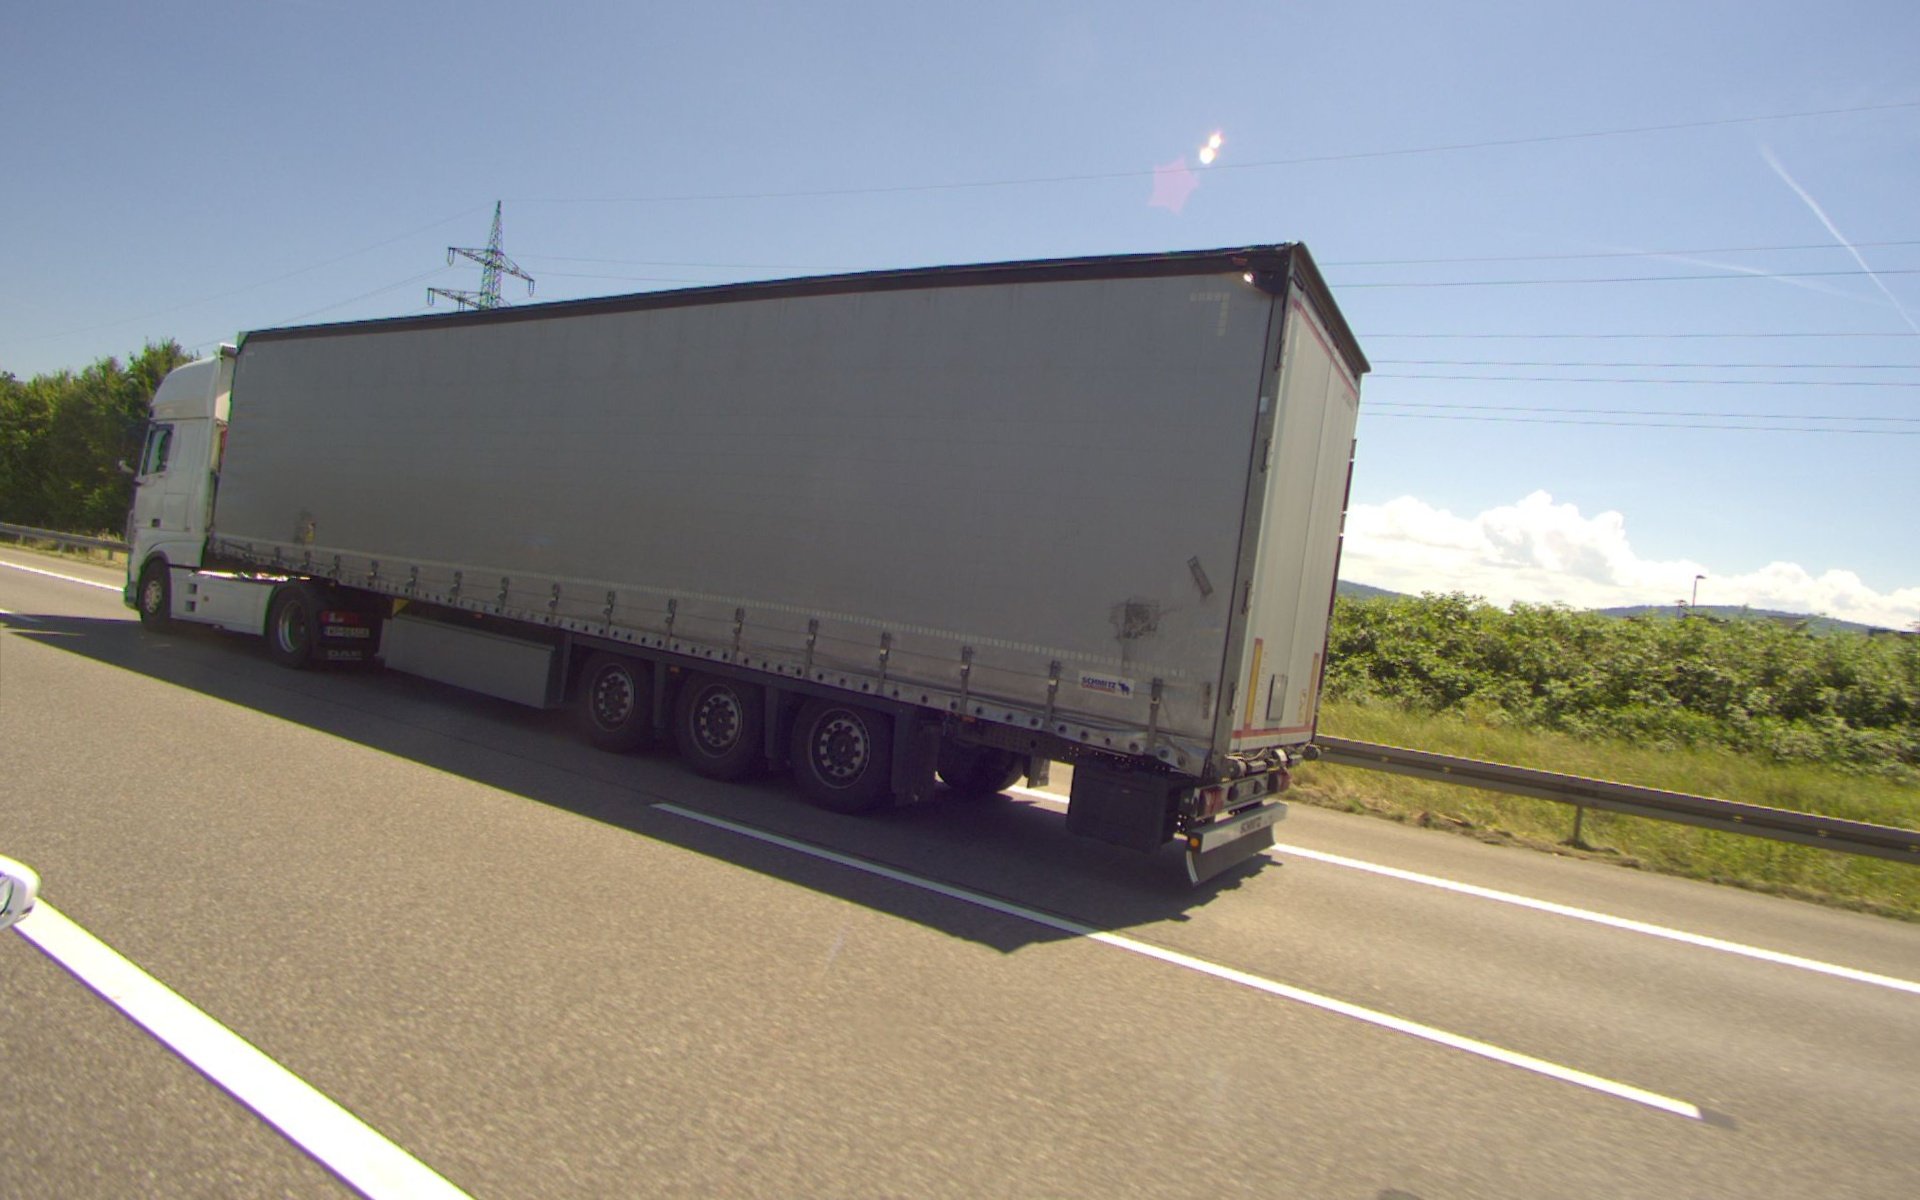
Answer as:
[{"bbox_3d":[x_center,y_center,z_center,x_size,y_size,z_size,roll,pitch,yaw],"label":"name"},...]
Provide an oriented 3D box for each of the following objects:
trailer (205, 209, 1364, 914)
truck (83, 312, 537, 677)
[{"bbox_3d":[-3.090,-0.709,10.447,12.904,4.155,2.740,6,-1,32],"label":"trailer"},{"bbox_3d":[-9.356,-1.412,14.347,6.023,4.168,2.741,6,-1,32],"label":"truck"}]
